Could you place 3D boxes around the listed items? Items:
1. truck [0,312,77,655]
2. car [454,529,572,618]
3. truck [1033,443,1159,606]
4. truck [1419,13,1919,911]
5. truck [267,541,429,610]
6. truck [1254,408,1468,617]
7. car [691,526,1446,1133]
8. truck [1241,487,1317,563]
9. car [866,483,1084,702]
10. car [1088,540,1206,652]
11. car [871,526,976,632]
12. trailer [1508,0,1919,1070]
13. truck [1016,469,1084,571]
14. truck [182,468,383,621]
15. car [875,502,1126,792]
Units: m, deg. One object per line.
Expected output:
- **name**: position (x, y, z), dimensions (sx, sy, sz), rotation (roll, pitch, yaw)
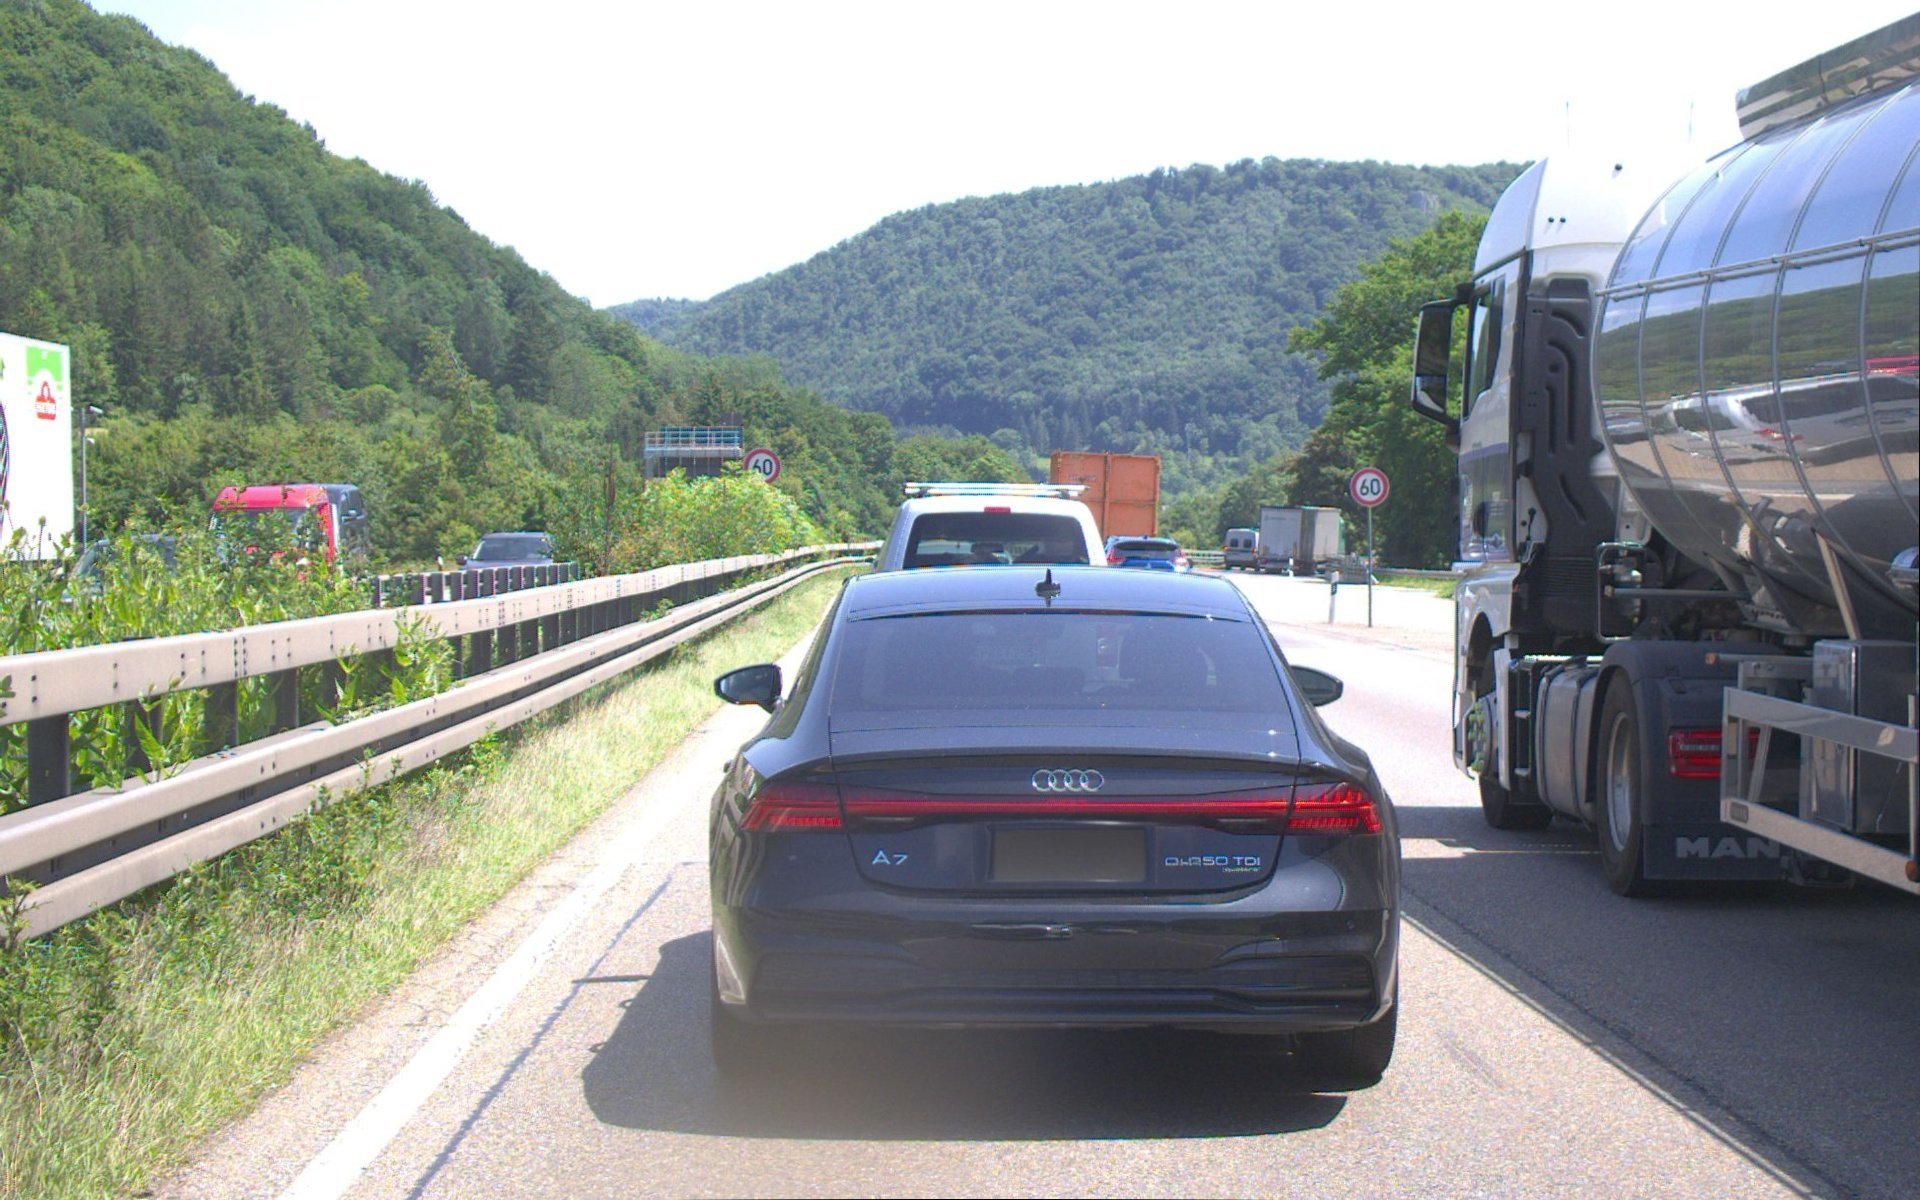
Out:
- **truck**: position (-12.528, -1.343, 38.945), dimensions (2.869, 3.967, 9.032), rotation (1, 1, -1)
- **car**: position (-8.257, -0.512, 63.730), dimensions (1.776, 1.593, 4.000), rotation (0, 1, -2)
- **truck**: position (3.515, -2.006, 92.235), dimensions (2.817, 3.989, 14.956), rotation (1, 1, 0)
- **truck**: position (3.931, -0.619, 17.018), dimensions (2.511, 3.745, 5.246), rotation (1, 1, -1)
- **truck**: position (-12.405, -0.541, 70.147), dimensions (2.209, 1.329, 7.010), rotation (0, 1, -1)
- **truck**: position (8.312, -1.821, 73.274), dimensions (2.817, 3.989, 14.956), rotation (1, 1, 0)
- **car**: position (0.137, 0.526, 10.485), dimensions (1.849, 1.483, 4.084), rotation (0, 1, -4)
- **truck**: position (19.407, -4.523, 208.306), dimensions (3.795, 4.399, 14.951), rotation (1, 1, 8)
- **car**: position (0.117, -0.105, 33.781), dimensions (1.993, 2.007, 4.000), rotation (1, 1, -1)
- **car**: position (3.433, -0.105, 63.708), dimensions (1.993, 1.996, 4.000), rotation (0, 1, 1)
- **car**: position (-0.739, -0.437, 67.682), dimensions (1.993, 2.007, 4.000), rotation (0, 1, -1)
- **trailer**: position (4.028, -0.514, 10.475), dimensions (2.538, 3.722, 11.893), rotation (1, 1, -1)
- **truck**: position (3.167, -2.831, 122.857), dimensions (1.993, 3.435, 11.812), rotation (1, 1, 0)
- **truck**: position (-12.234, -1.029, 62.657), dimensions (2.296, 2.579, 7.969), rotation (1, 1, -2)
- **car**: position (0.232, 0.261, 23.815), dimensions (1.576, 1.827, 4.000), rotation (1, 1, -1)
